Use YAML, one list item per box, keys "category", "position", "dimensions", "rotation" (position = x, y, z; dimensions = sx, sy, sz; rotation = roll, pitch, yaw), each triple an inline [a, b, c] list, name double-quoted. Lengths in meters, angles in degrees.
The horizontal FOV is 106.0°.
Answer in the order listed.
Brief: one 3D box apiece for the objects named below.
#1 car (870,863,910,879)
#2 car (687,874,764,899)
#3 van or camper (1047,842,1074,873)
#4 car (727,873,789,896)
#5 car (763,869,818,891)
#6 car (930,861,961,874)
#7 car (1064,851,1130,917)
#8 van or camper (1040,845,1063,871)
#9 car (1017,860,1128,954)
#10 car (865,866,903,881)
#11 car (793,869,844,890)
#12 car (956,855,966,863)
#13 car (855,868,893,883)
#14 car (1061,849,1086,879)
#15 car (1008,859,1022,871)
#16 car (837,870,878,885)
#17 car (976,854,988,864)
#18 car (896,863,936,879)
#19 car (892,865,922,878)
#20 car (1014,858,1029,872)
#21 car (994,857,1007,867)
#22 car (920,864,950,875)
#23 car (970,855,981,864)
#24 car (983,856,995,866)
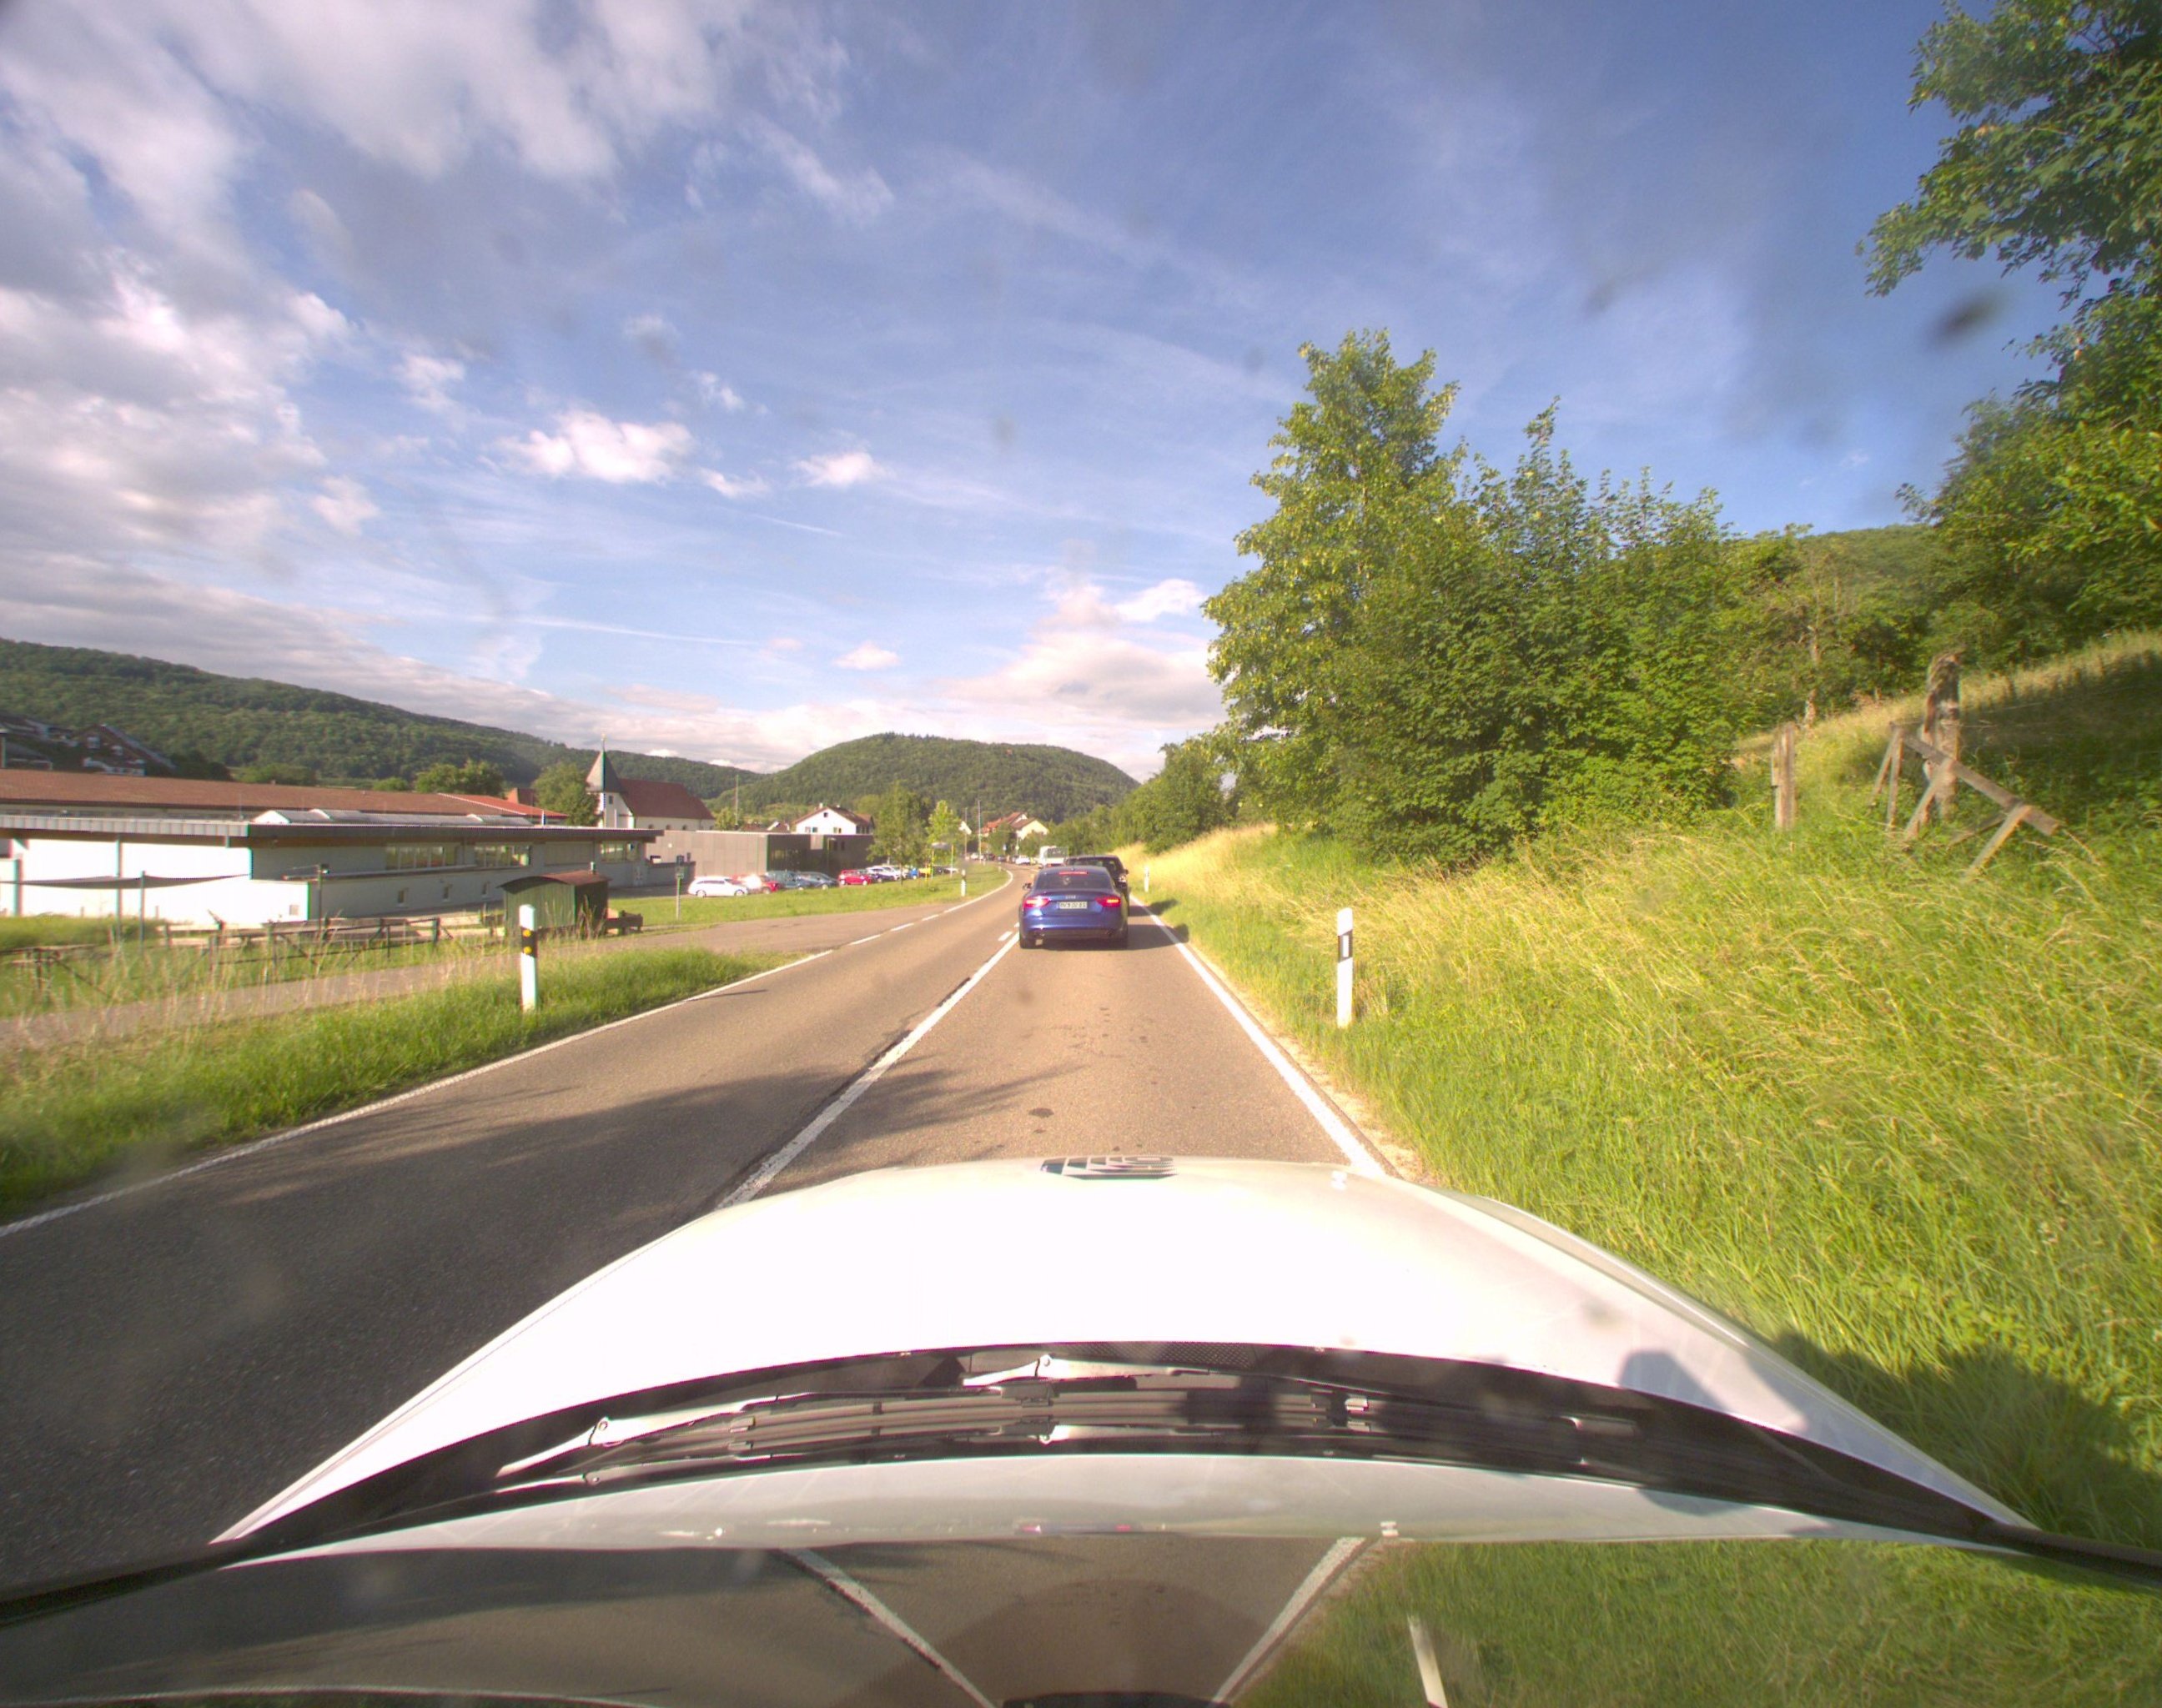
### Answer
- category: "car"
  position: [-21.745, 1.968, 92.926]
  dimensions: [4.056, 1.673, 1.600]
  rotation: [-2, 1, 6]
- category: "car"
  position: [-25.703, 2.358, 58.971]
  dimensions: [4.618, 1.589, 2.003]
  rotation: [-2, -1, 5]
- category: "van or camper"
  position: [-1.820, 0.340, 70.503]
  dimensions: [2.048, 2.505, 5.803]
  rotation: [-2, 0, -4]
- category: "car"
  position: [-24.523, 2.320, 61.877]
  dimensions: [3.900, 1.579, 1.758]
  rotation: [-2, -1, 5]
- category: "car"
  position: [-24.053, 2.149, 67.444]
  dimensions: [3.845, 1.722, 1.757]
  rotation: [-1, -1, 3]
- category: "car"
  position: [-19.381, 1.981, 116.860]
  dimensions: [4.015, 1.660, 1.659]
  rotation: [-2, 0, 6]
- category: "car"
  position: [0.383, 0.760, 22.024]
  dimensions: [1.641, 1.625, 3.515]
  rotation: [0, 0, -1]
- category: "van or camper"
  position: [-3.241, 0.435, 88.052]
  dimensions: [2.276, 2.714, 5.760]
  rotation: [-2, 0, -3]
- category: "car"
  position: [-0.065, 0.835, 14.483]
  dimensions: [1.735, 1.450, 3.519]
  rotation: [0, 0, 2]
- category: "car"
  position: [-21.845, 2.167, 90.403]
  dimensions: [3.647, 1.494, 1.599]
  rotation: [-2, 0, 6]
- category: "car"
  position: [-23.209, 2.269, 72.047]
  dimensions: [3.799, 1.722, 1.734]
  rotation: [-2, -1, 5]
- category: "car"
  position: [-29.308, 1.232, 199.239]
  dimensions: [1.682, 1.924, 3.975]
  rotation: [-2, 0, -18]
- category: "car"
  position: [-22.078, 2.325, 87.046]
  dimensions: [3.606, 1.405, 1.599]
  rotation: [-2, -3, 6]
- category: "car"
  position: [-0.589, 0.723, 58.948]
  dimensions: [1.564, 2.013, 3.996]
  rotation: [-2, 0, -3]
- category: "car"
  position: [-10.787, 1.777, 133.548]
  dimensions: [1.661, 1.924, 3.982]
  rotation: [-2, 0, -13]
- category: "car"
  position: [-22.500, 2.327, 82.181]
  dimensions: [3.606, 1.444, 1.651]
  rotation: [0, 1, 6]
- category: "car"
  position: [-21.348, 1.081, 175.575]
  dimensions: [1.681, 1.924, 3.976]
  rotation: [-2, 0, -17]
- category: "car"
  position: [-20.734, 2.179, 102.261]
  dimensions: [4.530, 1.815, 1.844]
  rotation: [-2, 0, 6]
- category: "car"
  position: [-21.284, 2.157, 99.722]
  dimensions: [3.360, 1.373, 1.659]
  rotation: [-2, 0, -2]
- category: "car"
  position: [-8.953, 1.645, 122.371]
  dimensions: [1.660, 1.924, 3.985]
  rotation: [-2, 0, -11]
- category: "car"
  position: [-14.931, 1.483, 151.473]
  dimensions: [1.663, 1.924, 3.978]
  rotation: [-2, 0, -16]
- category: "car"
  position: [-20.209, 2.123, 112.621]
  dimensions: [3.693, 1.439, 1.512]
  rotation: [-2, 0, 6]
- category: "car"
  position: [-23.765, 1.257, 183.628]
  dimensions: [1.682, 1.924, 3.975]
  rotation: [-2, 0, -18]
- category: "car"
  position: [-18.932, 1.437, 166.780]
  dimensions: [1.681, 1.924, 3.976]
  rotation: [-2, 0, -17]
